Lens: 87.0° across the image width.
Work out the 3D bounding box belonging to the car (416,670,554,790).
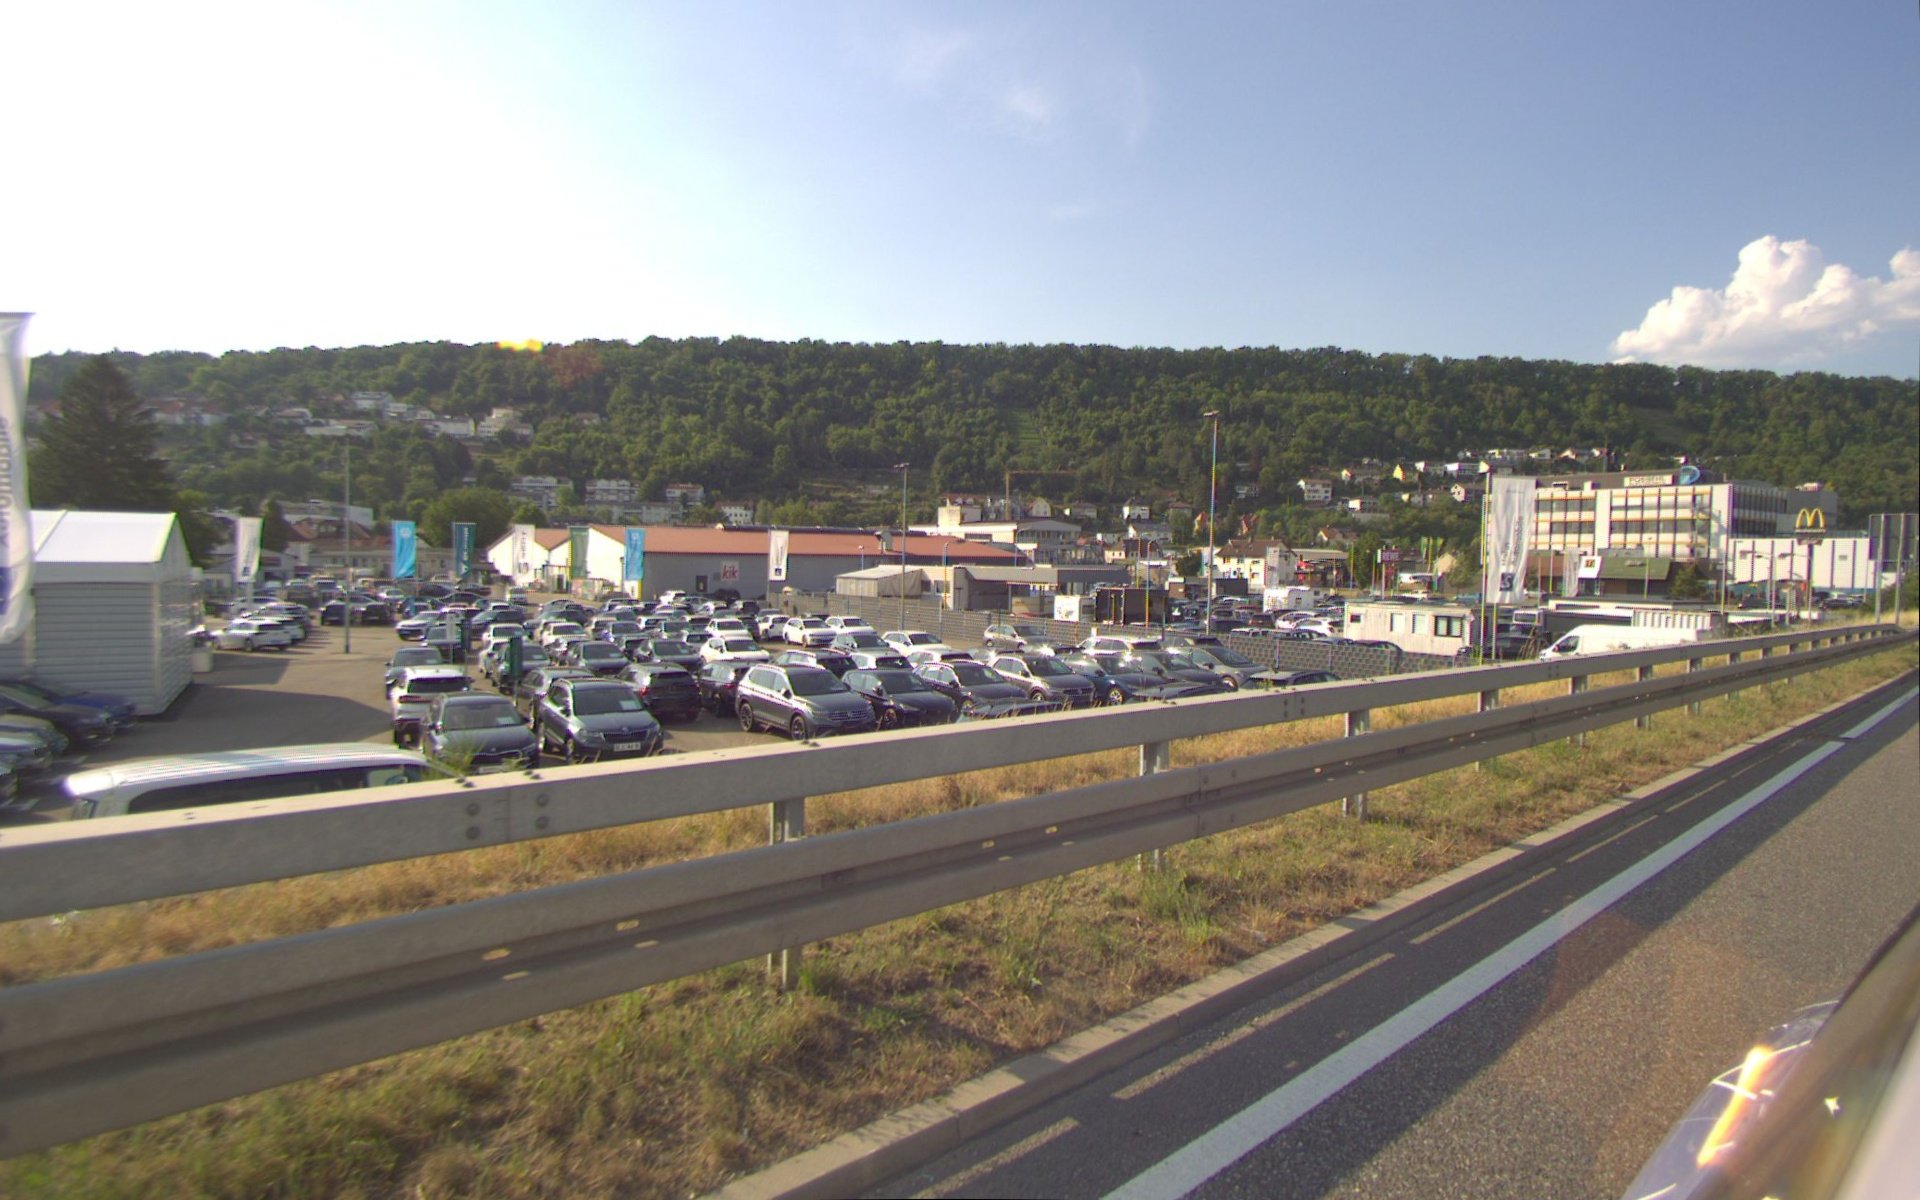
[{"bbox_3d":[-9.452,2.424,19.938,1.849,1.656,4.441,-1,1,-33],"label":"car"}]

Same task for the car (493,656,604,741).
[{"bbox_3d":[-10.740,2.447,26.224,1.849,1.656,4.441,-1,1,-33],"label":"car"}]

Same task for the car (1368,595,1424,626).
[{"bbox_3d":[33.810,0.788,78.441,5.200,2.274,1.760,-1,1,-38],"label":"car"}]

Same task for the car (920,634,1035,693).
[{"bbox_3d":[0.527,2.137,35.067,1.849,1.656,4.441,-1,1,-33],"label":"car"}]

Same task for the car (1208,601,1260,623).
[{"bbox_3d":[21.038,0.891,77.725,3.367,1.636,1.810,-1,1,-18],"label":"car"}]

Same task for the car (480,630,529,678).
[{"bbox_3d":[-17.846,2.062,39.571,1.595,1.593,3.492,-1,1,-27],"label":"car"}]

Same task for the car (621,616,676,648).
[{"bbox_3d":[-16.928,1.723,54.900,1.796,1.521,4.002,-1,1,-33],"label":"car"}]

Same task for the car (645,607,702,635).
[{"bbox_3d":[-18.562,1.320,65.699,1.855,1.656,4.427,0,1,10],"label":"car"}]

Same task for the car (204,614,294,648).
[{"bbox_3d":[-34.338,1.480,48.873,3.955,1.474,1.792,0,1,23],"label":"car"}]

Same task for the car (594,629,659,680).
[{"bbox_3d":[-13.506,2.154,40.904,1.746,1.749,4.005,-1,1,-29],"label":"car"}]

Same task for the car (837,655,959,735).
[{"bbox_3d":[-1.637,2.329,25.675,1.597,1.593,3.488,-1,1,-33],"label":"car"}]

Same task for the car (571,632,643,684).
[{"bbox_3d":[-12.368,1.978,35.341,1.745,1.474,4.005,-1,1,-28],"label":"car"}]

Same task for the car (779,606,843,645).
[{"bbox_3d":[-7.972,1.314,53.978,1.889,1.883,4.002,-1,1,-33],"label":"car"}]

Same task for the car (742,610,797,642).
[{"bbox_3d":[-11.031,1.454,58.487,1.723,1.661,3.967,-1,1,-33],"label":"car"}]

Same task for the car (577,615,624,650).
[{"bbox_3d":[-19.077,1.695,53.619,1.721,1.661,3.970,-1,1,-29],"label":"car"}]

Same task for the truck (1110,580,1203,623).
[{"bbox_3d":[11.611,0.057,59.503,5.861,2.400,1.999,-1,1,-38],"label":"truck"}]

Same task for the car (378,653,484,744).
[{"bbox_3d":[-12.932,2.288,24.596,1.849,1.656,4.441,-1,1,-33],"label":"car"}]

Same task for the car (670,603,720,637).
[{"bbox_3d":[-14.867,1.100,56.568,1.746,1.749,4.005,-1,1,-29],"label":"car"}]

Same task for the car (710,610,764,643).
[{"bbox_3d":[-12.585,1.458,57.024,1.723,1.661,3.967,-1,1,-33],"label":"car"}]

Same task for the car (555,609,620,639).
[{"bbox_3d":[-23.191,1.465,63.131,1.855,1.656,4.427,0,1,10],"label":"car"}]

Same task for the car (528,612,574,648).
[{"bbox_3d":[-21.144,1.526,52.233,1.721,1.661,3.970,-1,1,-29],"label":"car"}]

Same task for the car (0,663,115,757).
[{"bbox_3d":[-20.169,2.311,20.944,3.924,1.705,1.781,-1,1,-35],"label":"car"}]

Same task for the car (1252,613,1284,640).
[{"bbox_3d":[20.407,1.743,66.939,1.662,1.589,3.746,0,1,23],"label":"car"}]

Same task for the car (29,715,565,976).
[{"bbox_3d":[-7.031,2.397,11.136,1.880,1.646,4.654,0,1,44],"label":"car"}]

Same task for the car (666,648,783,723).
[{"bbox_3d":[-6.854,2.378,29.120,1.849,1.656,4.441,-1,1,-33],"label":"car"}]

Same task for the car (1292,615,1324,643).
[{"bbox_3d":[22.085,1.793,64.178,1.662,1.589,3.746,0,1,23],"label":"car"}]

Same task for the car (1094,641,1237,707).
[{"bbox_3d":[6.403,2.246,31.940,1.849,1.656,4.441,-1,1,-33],"label":"car"}]

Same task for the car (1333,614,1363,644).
[{"bbox_3d":[23.626,1.732,61.645,1.661,1.589,3.749,0,1,21],"label":"car"}]

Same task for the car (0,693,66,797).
[{"bbox_3d":[-18.113,2.535,16.779,4.636,1.541,1.887,-1,1,-31],"label":"car"}]

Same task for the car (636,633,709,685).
[{"bbox_3d":[-10.443,2.094,36.673,1.597,1.593,3.488,-1,1,-33],"label":"car"}]

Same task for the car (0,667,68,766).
[{"bbox_3d":[-19.532,2.226,18.442,4.636,1.656,1.887,-1,1,-31],"label":"car"}]

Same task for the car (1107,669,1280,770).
[{"bbox_3d":[5.259,2.555,22.510,4.240,1.646,1.739,-1,1,-44],"label":"car"}]

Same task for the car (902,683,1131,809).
[{"bbox_3d":[1.124,2.562,18.658,4.237,1.646,1.740,-1,1,-42],"label":"car"}]

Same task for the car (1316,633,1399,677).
[{"bbox_3d":[16.828,2.284,42.801,3.600,1.631,1.602,-1,1,-37],"label":"car"}]

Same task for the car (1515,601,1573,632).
[{"bbox_3d":[39.496,1.072,68.434,4.740,1.976,1.760,-1,1,-38],"label":"car"}]

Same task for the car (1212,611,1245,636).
[{"bbox_3d":[18.449,1.589,69.487,1.662,1.589,3.746,0,1,23],"label":"car"}]

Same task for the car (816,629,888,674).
[{"bbox_3d":[-4.545,2.109,42.150,1.597,1.593,3.488,-1,1,-33],"label":"car"}]

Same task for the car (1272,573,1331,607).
[{"bbox_3d":[26.861,-0.813,79.480,5.369,2.581,1.760,-1,1,-38],"label":"car"}]

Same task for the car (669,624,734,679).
[{"bbox_3d":[-10.978,2.120,42.765,1.959,2.039,4.007,-1,1,-25],"label":"car"}]

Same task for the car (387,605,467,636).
[{"bbox_3d":[-30.993,1.155,58.978,1.855,1.656,4.427,0,1,10],"label":"car"}]

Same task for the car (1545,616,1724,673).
[{"bbox_3d":[27.962,1.776,42.190,1.964,2.039,5.896,-1,1,-38],"label":"car"}]

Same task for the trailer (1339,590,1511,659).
[{"bbox_3d":[25.014,1.187,54.863,3.296,3.364,7.903,-1,1,-36],"label":"trailer"}]

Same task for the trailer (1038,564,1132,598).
[{"bbox_3d":[7.900,-1.206,63.514,6.166,2.047,2.000,-1,1,-36],"label":"trailer"}]

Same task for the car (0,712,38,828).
[{"bbox_3d":[-16.878,2.679,14.860,4.636,1.541,1.887,-1,1,-31],"label":"car"}]

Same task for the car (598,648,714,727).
[{"bbox_3d":[-8.392,2.308,27.695,1.849,1.656,4.441,-1,1,-33],"label":"car"}]

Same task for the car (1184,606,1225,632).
[{"bbox_3d":[17.334,1.324,71.669,1.756,1.705,3.631,1,1,32],"label":"car"}]

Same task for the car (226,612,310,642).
[{"bbox_3d":[-36.018,1.381,52.683,3.955,1.474,1.792,0,1,23],"label":"car"}]
